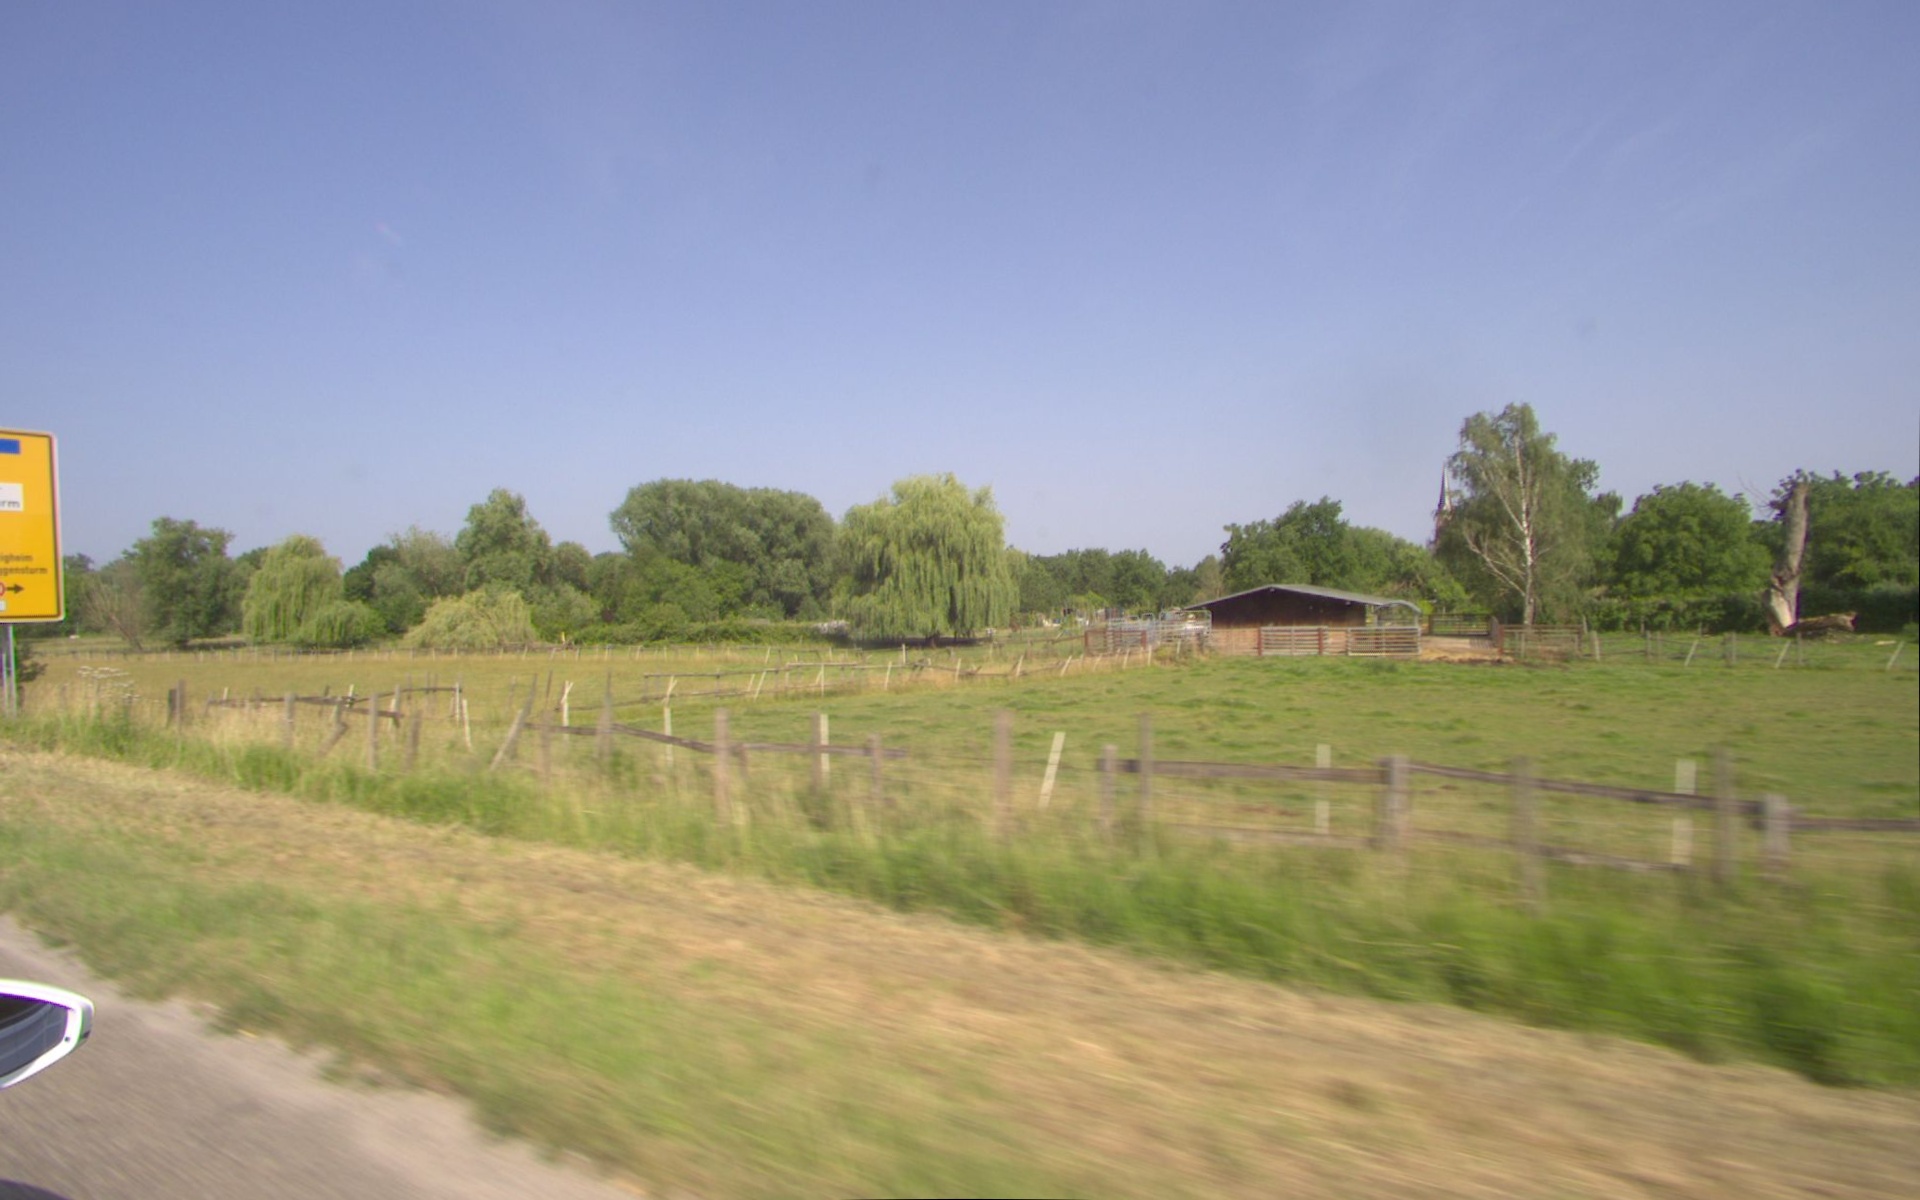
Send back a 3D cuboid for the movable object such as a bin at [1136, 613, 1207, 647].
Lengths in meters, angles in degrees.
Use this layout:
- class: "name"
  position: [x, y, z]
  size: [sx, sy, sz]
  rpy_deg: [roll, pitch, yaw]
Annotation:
- class: "movable object such as a bin"
  position: [13.984, 1.990, 66.277]
  size: [4.107, 2.222, 1.989]
  rpy_deg: [-2, -1, 34]
